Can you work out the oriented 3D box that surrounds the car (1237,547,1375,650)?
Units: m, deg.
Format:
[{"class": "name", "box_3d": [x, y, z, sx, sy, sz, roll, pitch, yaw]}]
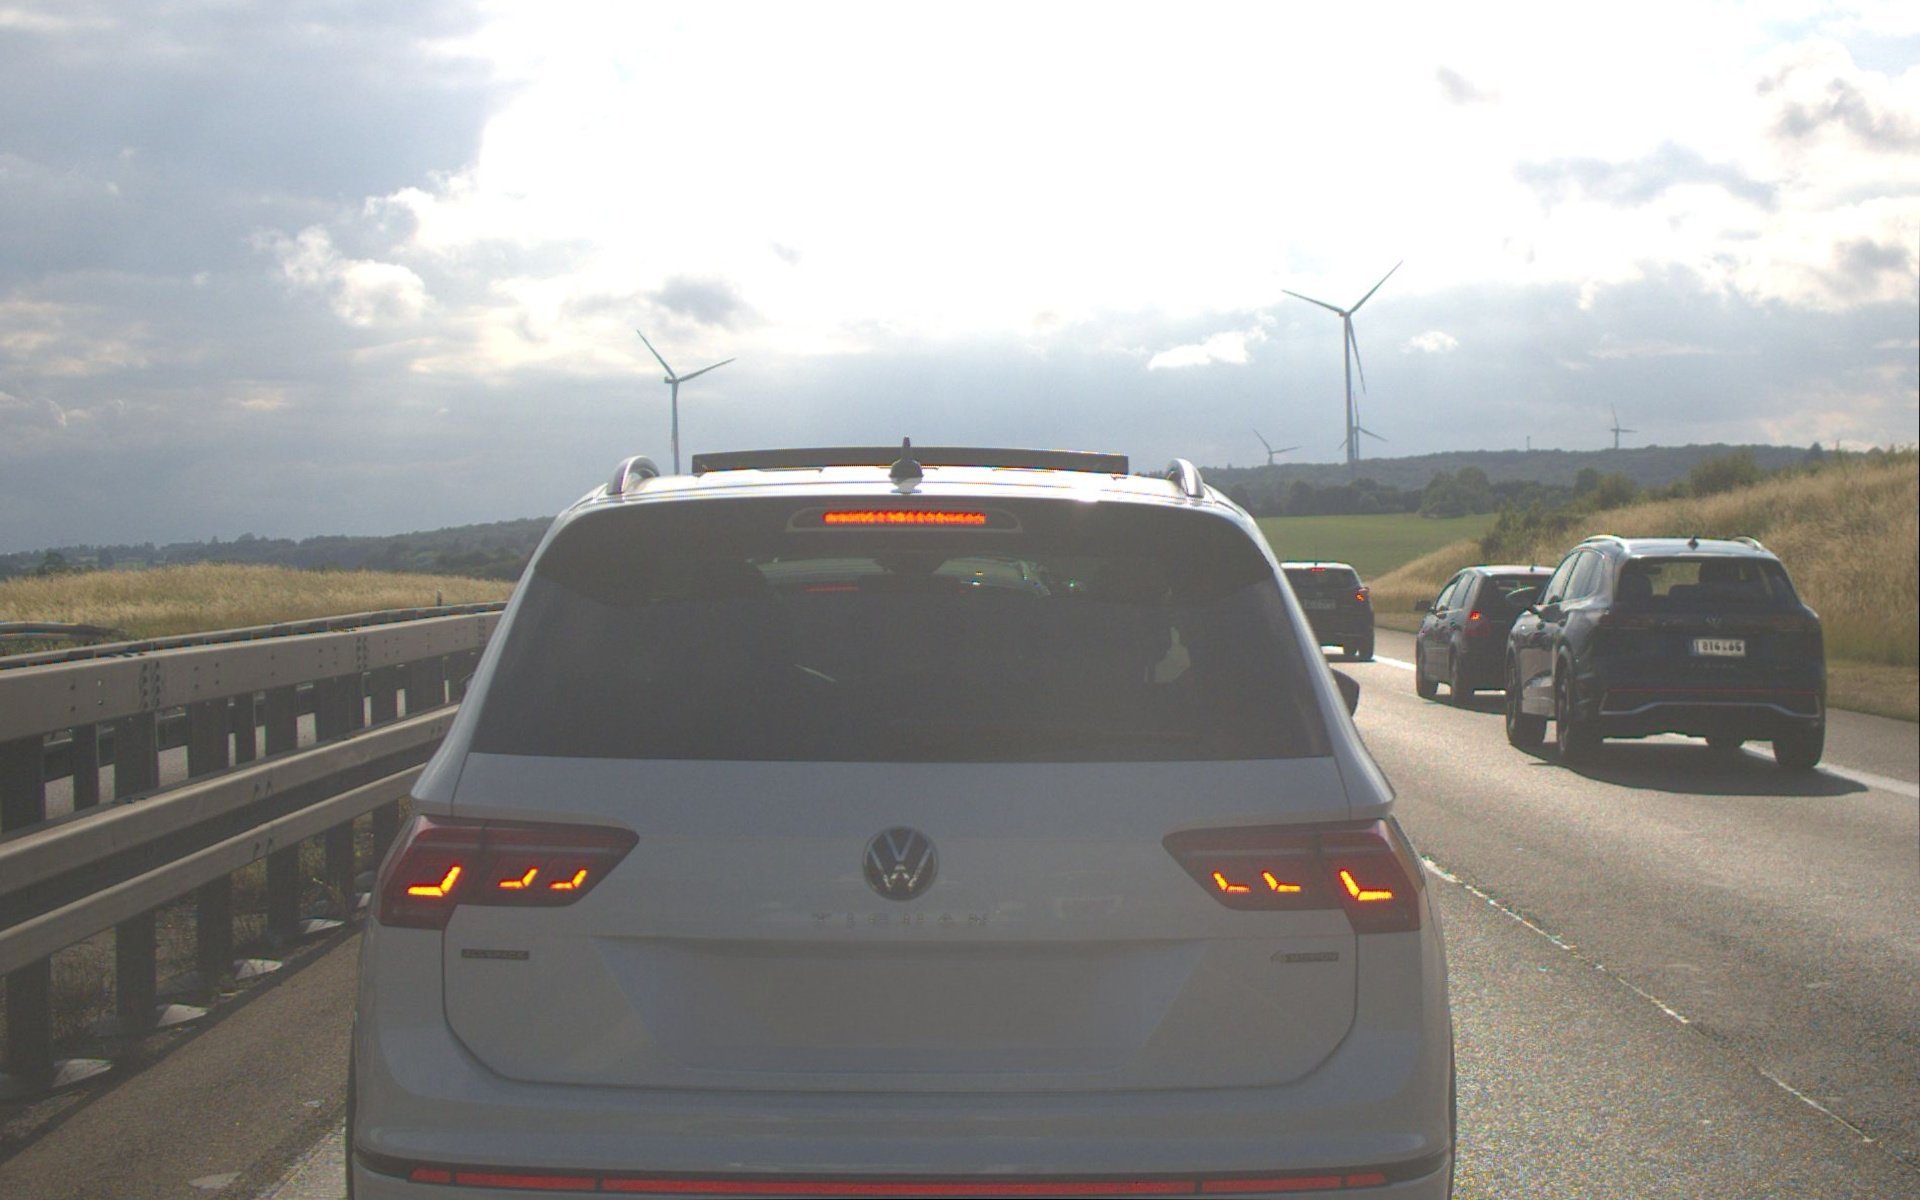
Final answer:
[{"class": "car", "box_3d": [5.343, -0.043, 53.473, 1.704, 1.540, 4.000, 0, 0, -1]}]

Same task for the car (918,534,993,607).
[{"class": "car", "box_3d": [-0.116, -0.684, 80.134, 1.704, 1.644, 4.000, 0, 0, -1]}]

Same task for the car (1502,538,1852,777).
[{"class": "car", "box_3d": [5.269, 0.381, 25.789, 1.821, 1.596, 4.235, 2, 0, 2]}]

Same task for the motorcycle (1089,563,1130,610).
[{"class": "motorcycle", "box_3d": [3.787, -0.346, 87.286, 0.895, 1.186, 2.257, 0, 0, -1]}]

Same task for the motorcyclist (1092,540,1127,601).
[{"class": "motorcyclist", "box_3d": [3.790, -0.748, 87.238, 0.849, 1.554, 0.934, 0, 0, -1]}]

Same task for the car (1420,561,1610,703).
[{"class": "car", "box_3d": [5.787, 0.307, 36.181, 1.606, 1.415, 3.672, 0, 0, 3]}]

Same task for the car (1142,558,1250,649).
[{"class": "car", "box_3d": [4.400, 0.046, 64.577, 1.704, 1.644, 4.000, 0, 0, -1]}]

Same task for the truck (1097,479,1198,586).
[{"class": "truck", "box_3d": [6.478, -2.366, 120.177, 3.184, 3.581, 11.130, 0, 1, 1]}]

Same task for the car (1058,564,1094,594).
[{"class": "car", "box_3d": [5.951, -1.094, 176.432, 1.704, 1.540, 4.000, 0, 0, -1]}]

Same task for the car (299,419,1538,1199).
[{"class": "car", "box_3d": [-0.079, 0.561, 6.917, 1.770, 1.670, 4.000, 0, 0, -1]}]

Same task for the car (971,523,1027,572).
[{"class": "car", "box_3d": [1.238, -1.666, 110.138, 1.704, 1.540, 4.000, 0, 0, -1]}]
